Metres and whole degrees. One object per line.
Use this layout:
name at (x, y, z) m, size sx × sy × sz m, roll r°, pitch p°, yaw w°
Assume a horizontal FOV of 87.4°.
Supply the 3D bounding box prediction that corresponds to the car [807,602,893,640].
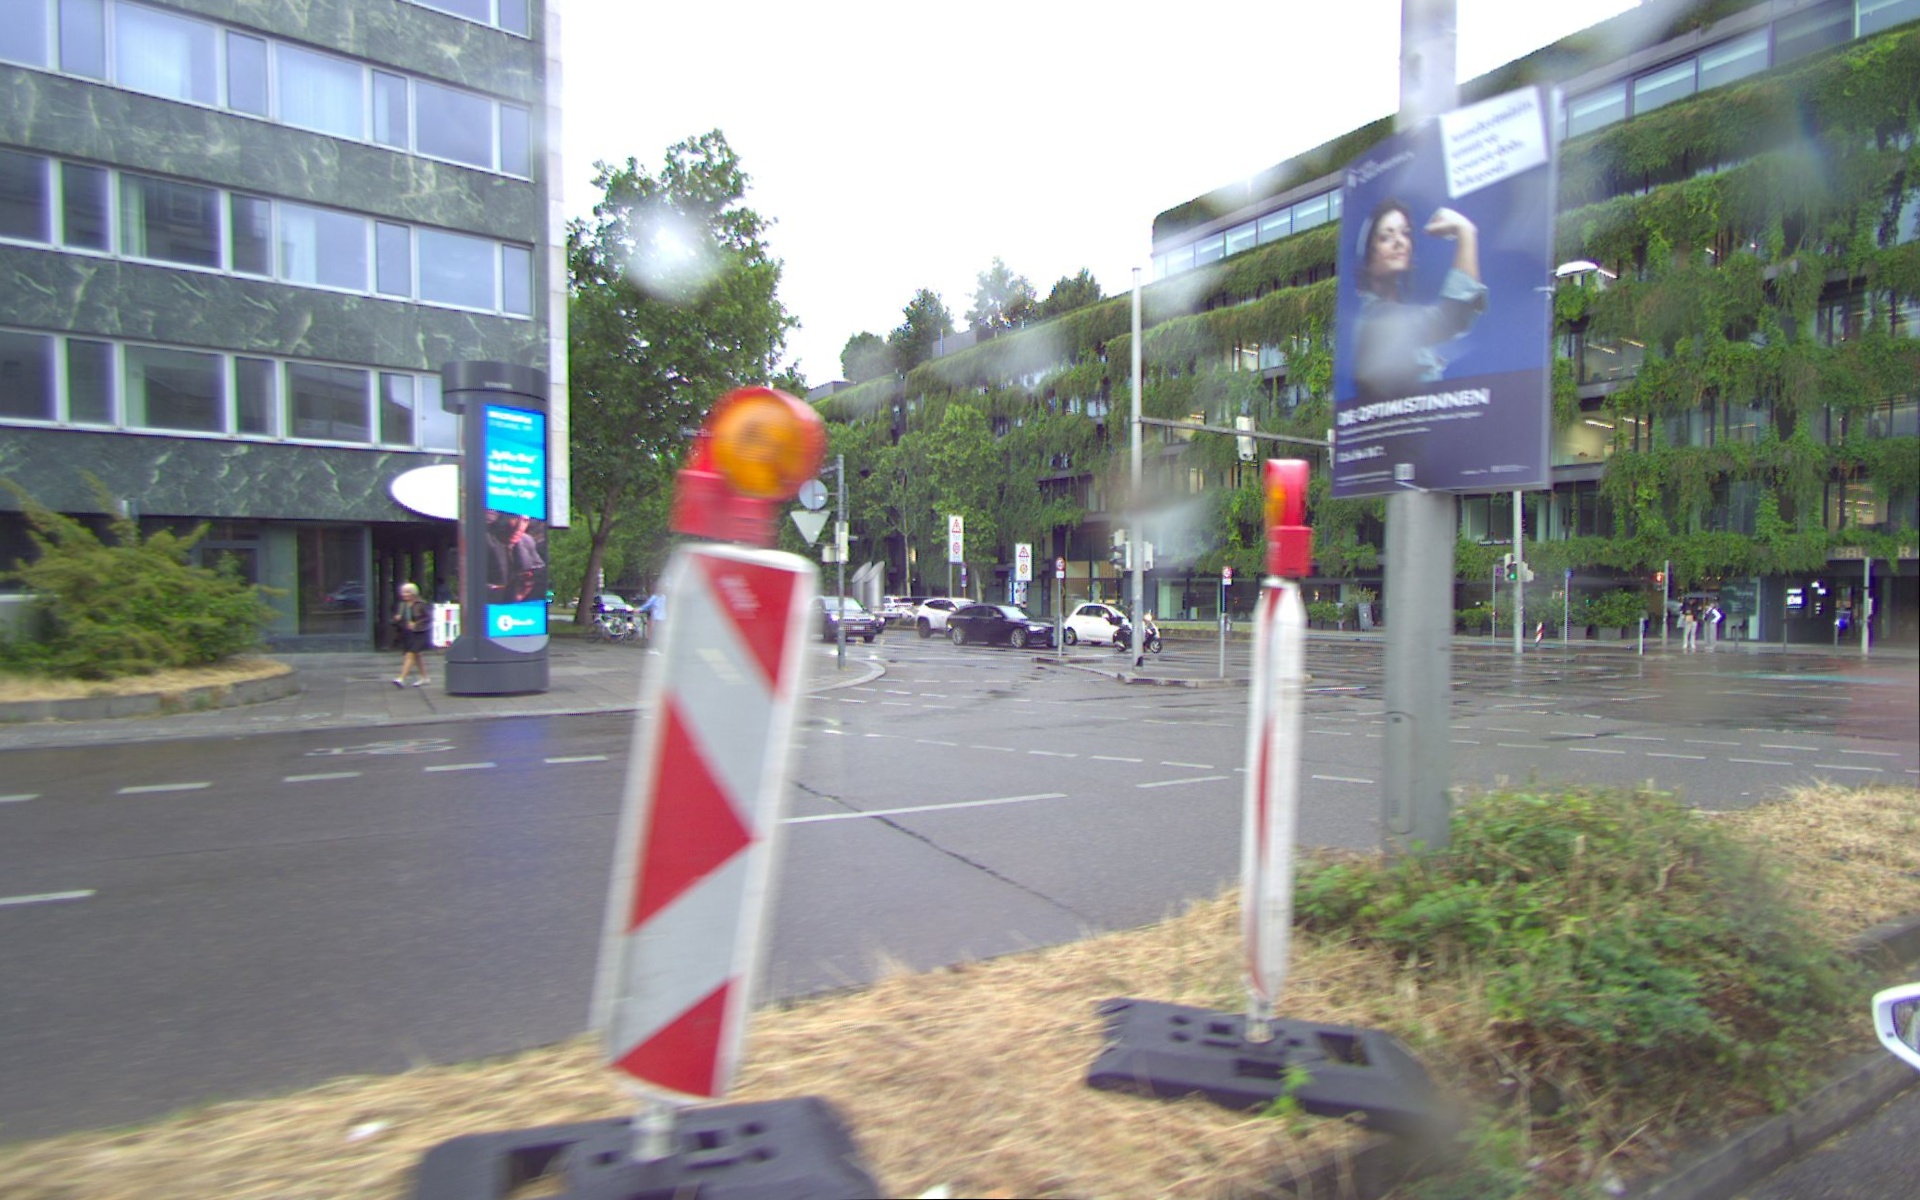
car at (-5.206, 0.978, 47.123) m, size 1.986 × 1.674 × 4.050 m, roll 2°, pitch -1°, yaw -42°

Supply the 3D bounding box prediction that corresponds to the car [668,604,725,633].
car at (-16.356, 1.144, 62.242) m, size 1.805 × 1.674 × 4.053 m, roll 2°, pitch -1°, yaw -39°

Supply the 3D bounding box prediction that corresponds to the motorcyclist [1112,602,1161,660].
motorcyclist at (5.350, 0.927, 30.443) m, size 1.173 × 1.725 × 0.843 m, roll 0°, pitch 0°, yaw 44°

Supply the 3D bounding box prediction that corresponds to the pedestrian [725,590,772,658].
pedestrian at (-5.151, 0.597, 24.434) m, size 0.912 × 1.605 × 0.828 m, roll 0°, pitch -4°, yaw -30°

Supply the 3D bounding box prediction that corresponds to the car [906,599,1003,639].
car at (-0.265, 0.730, 41.070) m, size 1.858 × 1.543 × 3.856 m, roll 1°, pitch 0°, yaw -42°

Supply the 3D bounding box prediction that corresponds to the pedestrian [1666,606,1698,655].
pedestrian at (26.957, 1.127, 37.502) m, size 0.923 × 1.781 × 1.167 m, roll 1°, pitch 0°, yaw 37°

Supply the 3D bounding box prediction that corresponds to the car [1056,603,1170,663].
car at (5.230, 1.084, 34.637) m, size 1.985 × 1.948 × 3.417 m, roll 1°, pitch 0°, yaw -42°

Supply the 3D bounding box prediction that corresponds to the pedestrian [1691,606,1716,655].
pedestrian at (27.530, 1.106, 37.190) m, size 0.732 × 1.781 × 0.972 m, roll 1°, pitch 0°, yaw 37°

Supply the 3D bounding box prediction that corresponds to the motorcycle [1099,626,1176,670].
motorcycle at (5.356, 1.431, 30.432) m, size 2.204 × 1.227 × 0.843 m, roll 0°, pitch 0°, yaw 44°

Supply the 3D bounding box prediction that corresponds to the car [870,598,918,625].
car at (-5.163, 0.916, 78.692) m, size 1.979 × 2.040 × 4.074 m, roll 1°, pitch -1°, yaw -34°

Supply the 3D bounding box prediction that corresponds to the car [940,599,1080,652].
car at (1.629, 0.807, 34.110) m, size 1.957 × 1.674 × 4.755 m, roll 1°, pitch 0°, yaw -43°

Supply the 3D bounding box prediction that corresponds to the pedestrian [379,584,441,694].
pedestrian at (-8.601, 0.594, 15.742) m, size 0.680 × 1.675 × 0.756 m, roll 1°, pitch 0°, yaw -16°

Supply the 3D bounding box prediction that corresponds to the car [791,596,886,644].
car at (-4.622, 0.717, 37.778) m, size 1.978 × 1.674 × 4.202 m, roll 1°, pitch 0°, yaw -32°

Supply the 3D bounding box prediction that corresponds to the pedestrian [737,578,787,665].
pedestrian at (-4.477, 0.495, 22.738) m, size 0.887 × 1.909 × 0.781 m, roll 0°, pitch -4°, yaw -30°

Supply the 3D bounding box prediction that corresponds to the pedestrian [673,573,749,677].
pedestrian at (-4.711, 0.461, 19.021) m, size 1.225 × 1.911 × 0.685 m, roll 1°, pitch 2°, yaw -34°

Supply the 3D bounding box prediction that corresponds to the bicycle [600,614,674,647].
bicycle at (-9.801, 0.913, 30.552) m, size 2.170 × 0.968 × 0.423 m, roll 1°, pitch -1°, yaw -43°

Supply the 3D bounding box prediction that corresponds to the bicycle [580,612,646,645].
bicycle at (-10.070, 0.830, 29.167) m, size 1.773 × 0.946 × 0.473 m, roll 1°, pitch 0°, yaw -21°

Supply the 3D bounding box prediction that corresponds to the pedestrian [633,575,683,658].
pedestrian at (-7.134, 0.406, 23.725) m, size 0.868 × 1.878 × 1.015 m, roll 1°, pitch -4°, yaw -34°

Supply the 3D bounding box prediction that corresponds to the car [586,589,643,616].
car at (-22.417, 0.169, 65.100) m, size 1.986 × 1.674 × 4.050 m, roll 2°, pitch -1°, yaw -42°
